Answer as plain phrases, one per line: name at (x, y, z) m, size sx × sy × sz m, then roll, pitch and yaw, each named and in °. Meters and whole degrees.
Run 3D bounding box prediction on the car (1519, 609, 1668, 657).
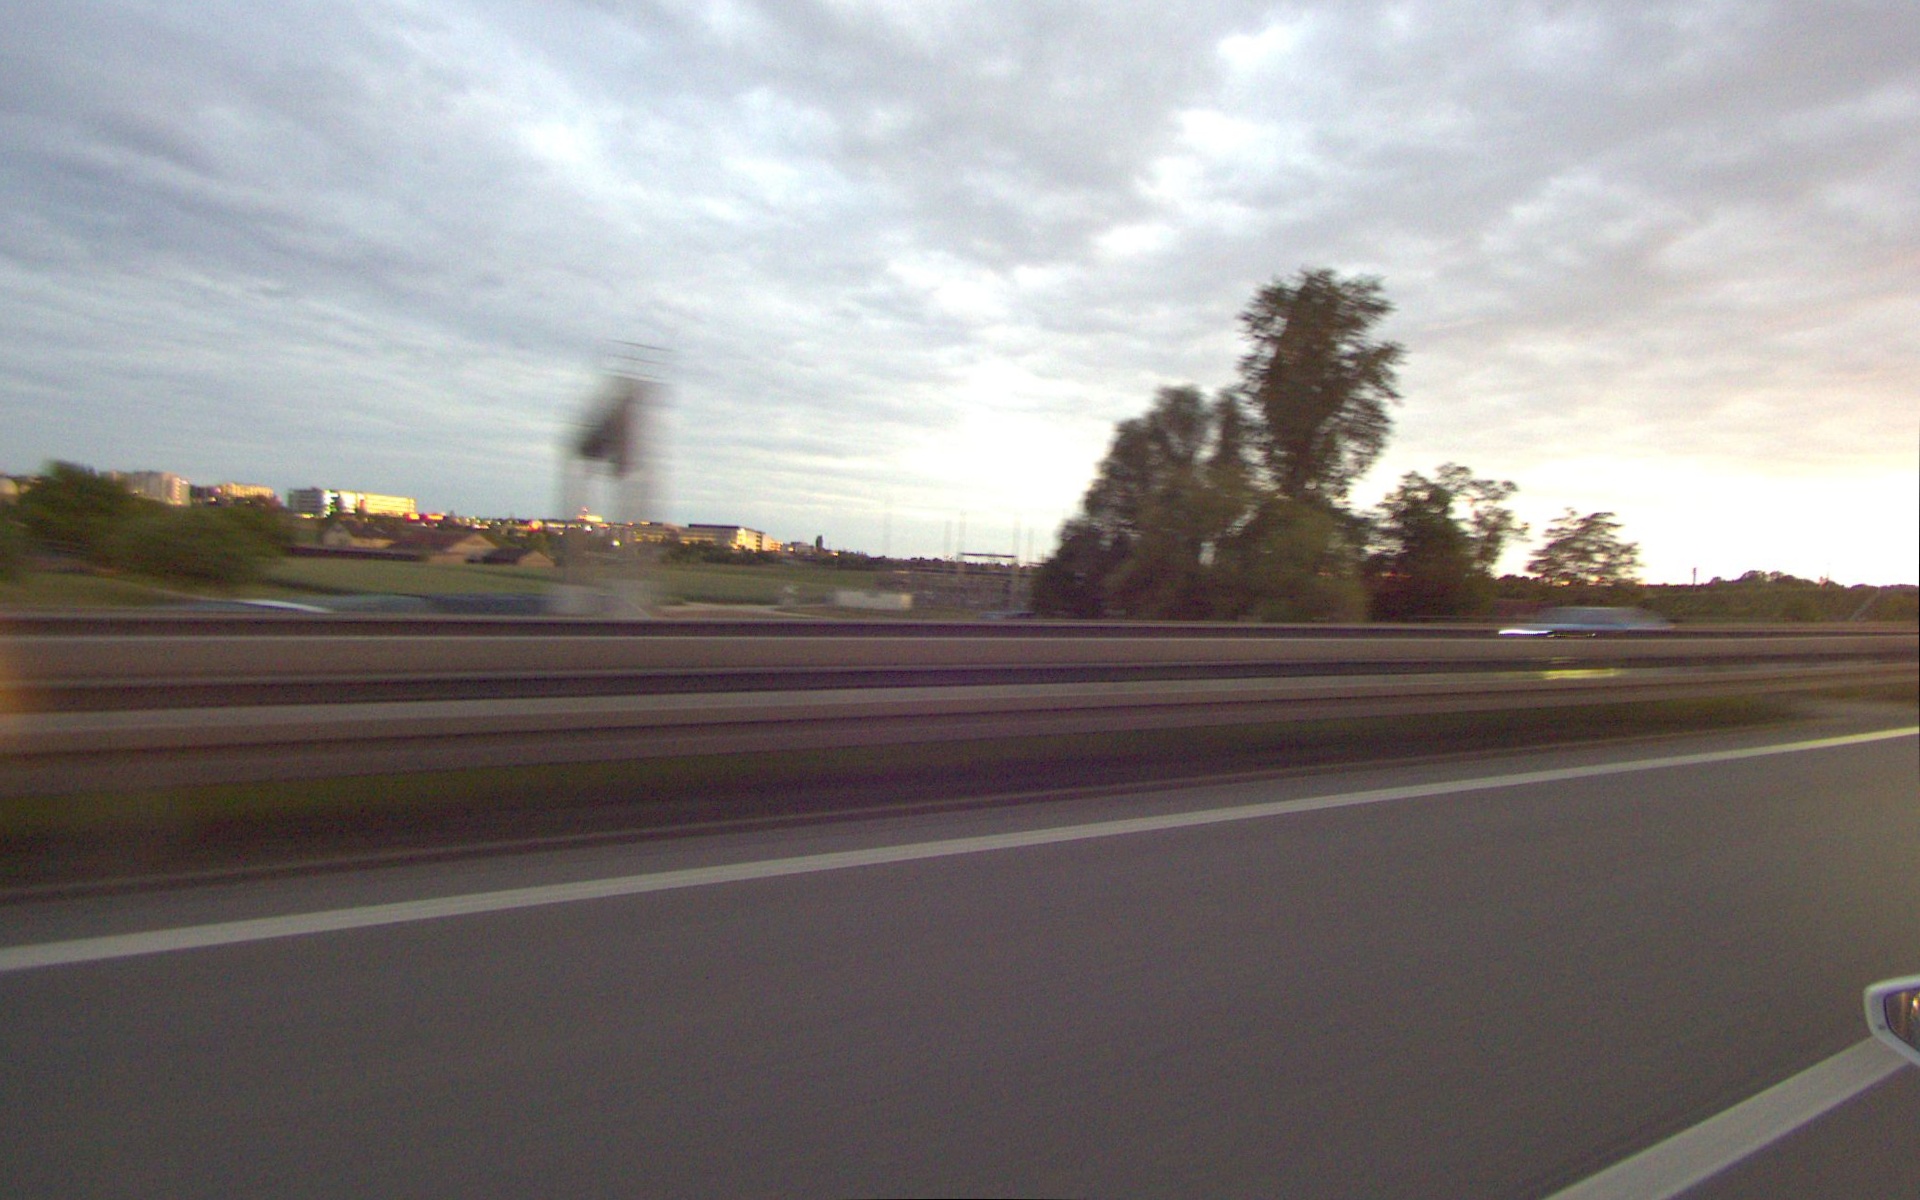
car at (19.496, 0.982, 30.878) m, size 4.810 × 1.376 × 1.983 m, roll 1°, pitch 0°, yaw -32°
